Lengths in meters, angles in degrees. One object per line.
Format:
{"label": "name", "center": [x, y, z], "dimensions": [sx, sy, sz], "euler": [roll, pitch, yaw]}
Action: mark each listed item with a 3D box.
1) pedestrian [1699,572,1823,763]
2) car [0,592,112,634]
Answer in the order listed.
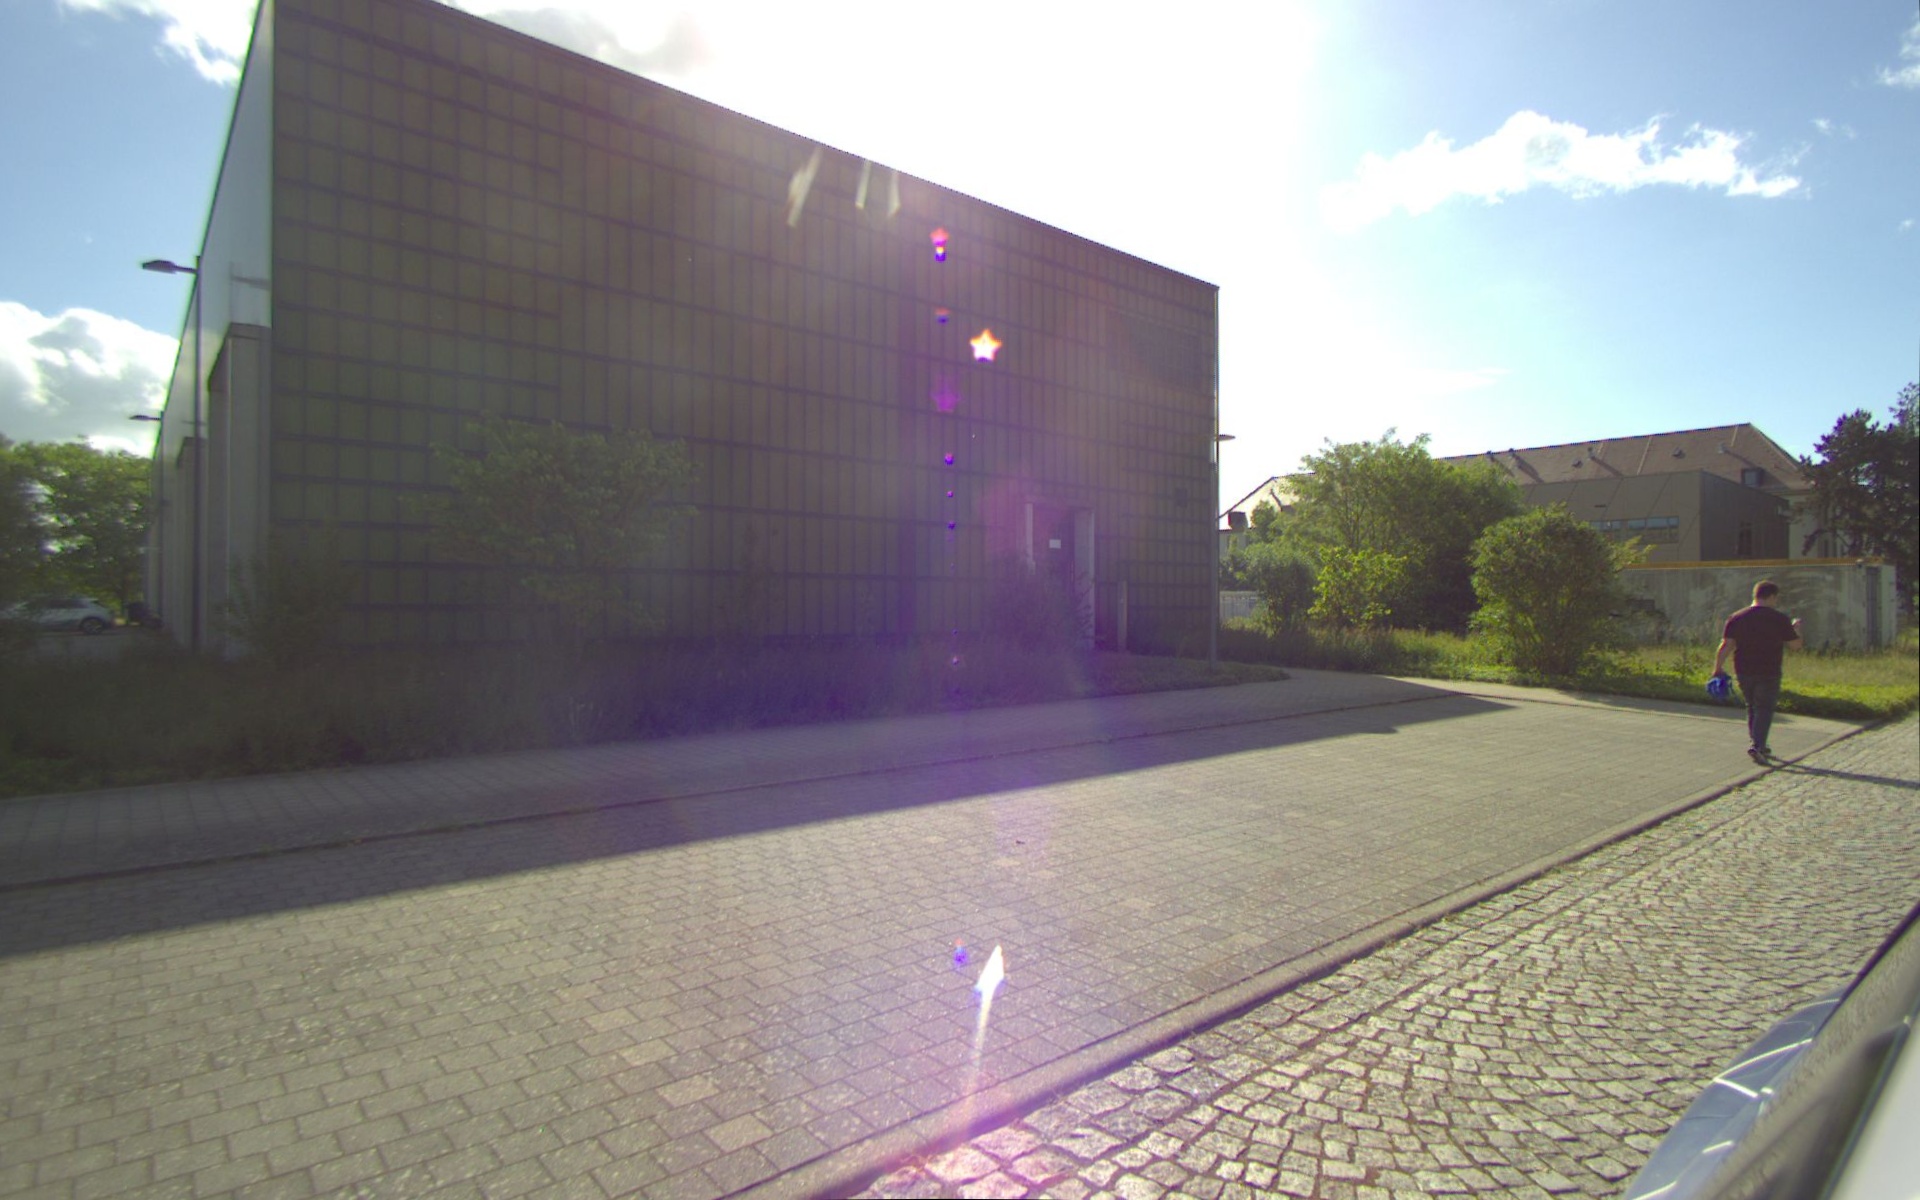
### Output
{"label": "pedestrian", "center": [8.073, 0.631, 10.194], "dimensions": [1.050, 1.803, 0.796], "euler": [1, 0, -42]}
{"label": "car", "center": [-37.892, 0.524, 41.686], "dimensions": [4.500, 1.684, 1.996], "euler": [0, -1, -42]}
